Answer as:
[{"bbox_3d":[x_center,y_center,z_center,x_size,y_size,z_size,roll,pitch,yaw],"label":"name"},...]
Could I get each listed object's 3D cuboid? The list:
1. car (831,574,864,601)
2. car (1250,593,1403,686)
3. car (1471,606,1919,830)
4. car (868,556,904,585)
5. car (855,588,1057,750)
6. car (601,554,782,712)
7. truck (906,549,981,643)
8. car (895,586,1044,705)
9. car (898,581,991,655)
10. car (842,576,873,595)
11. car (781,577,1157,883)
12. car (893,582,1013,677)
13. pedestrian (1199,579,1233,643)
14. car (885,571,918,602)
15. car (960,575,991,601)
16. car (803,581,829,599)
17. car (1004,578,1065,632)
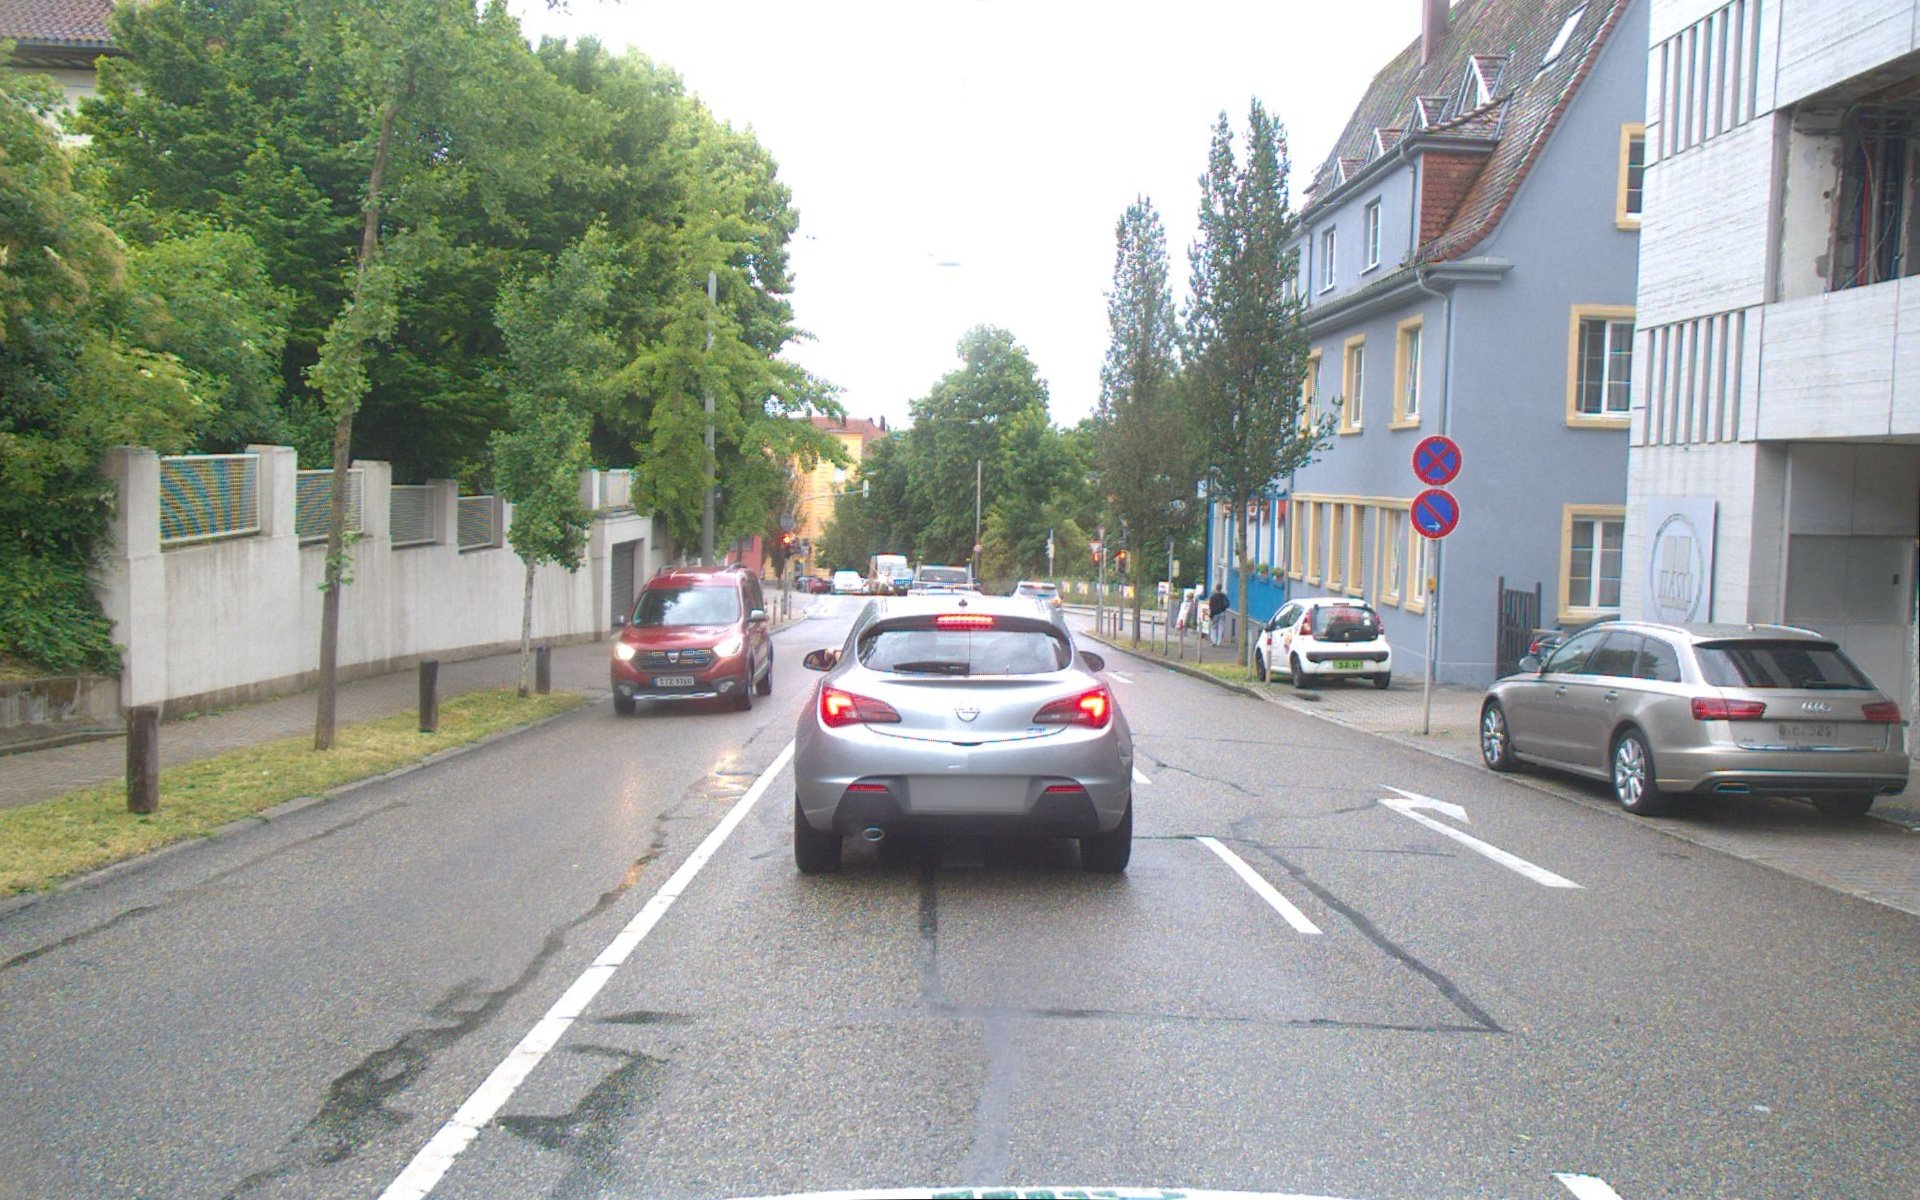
[{"bbox_3d":[-6.302,-0.718,92.843,1.688,1.485,3.878,0,0,-2],"label":"car"},{"bbox_3d":[6.283,0.635,28.783,1.688,1.473,3.878,0,0,-2],"label":"car"},{"bbox_3d":[6.048,0.844,13.898,1.923,1.473,4.524,1,1,-3],"label":"car"},{"bbox_3d":[-4.492,-1.773,100.177,1.691,1.666,3.871,0,0,-9],"label":"car"},{"bbox_3d":[-0.106,0.662,18.326,1.922,1.473,4.304,2,1,-2],"label":"car"},{"bbox_3d":[-3.436,0.395,21.909,1.711,1.860,4.458,-1,0,-1],"label":"car"},{"bbox_3d":[-0.520,-0.134,47.082,1.922,2.471,4.934,2,1,-2],"label":"truck"},{"bbox_3d":[0.059,0.589,24.050,1.922,1.473,4.304,2,1,-2],"label":"car"},{"bbox_3d":[-0.401,0.350,37.084,1.922,1.473,4.304,2,1,-2],"label":"car"},{"bbox_3d":[-8.620,-1.198,139.214,1.696,1.570,3.859,0,0,-18],"label":"car"},{"bbox_3d":[-0.039,0.619,9.955,1.800,1.459,3.878,1,0,-3],"label":"car"},{"bbox_3d":[-0.184,0.462,29.427,1.922,1.473,4.304,2,1,-2],"label":"car"},{"bbox_3d":[7.200,0.310,46.513,0.767,1.759,0.650,2,0,-1],"label":"pedestrian"},{"bbox_3d":[-3.260,-0.768,92.560,1.833,1.666,3.878,0,0,-2],"label":"car"},{"bbox_3d":[0.995,-0.805,108.917,1.689,1.666,3.876,0,0,-4],"label":"car"},{"bbox_3d":[-13.781,-0.981,157.902,1.696,1.666,3.859,0,0,-18],"label":"car"},{"bbox_3d":[2.446,0.148,55.158,1.688,1.744,3.878,0,0,-3],"label":"car"}]
